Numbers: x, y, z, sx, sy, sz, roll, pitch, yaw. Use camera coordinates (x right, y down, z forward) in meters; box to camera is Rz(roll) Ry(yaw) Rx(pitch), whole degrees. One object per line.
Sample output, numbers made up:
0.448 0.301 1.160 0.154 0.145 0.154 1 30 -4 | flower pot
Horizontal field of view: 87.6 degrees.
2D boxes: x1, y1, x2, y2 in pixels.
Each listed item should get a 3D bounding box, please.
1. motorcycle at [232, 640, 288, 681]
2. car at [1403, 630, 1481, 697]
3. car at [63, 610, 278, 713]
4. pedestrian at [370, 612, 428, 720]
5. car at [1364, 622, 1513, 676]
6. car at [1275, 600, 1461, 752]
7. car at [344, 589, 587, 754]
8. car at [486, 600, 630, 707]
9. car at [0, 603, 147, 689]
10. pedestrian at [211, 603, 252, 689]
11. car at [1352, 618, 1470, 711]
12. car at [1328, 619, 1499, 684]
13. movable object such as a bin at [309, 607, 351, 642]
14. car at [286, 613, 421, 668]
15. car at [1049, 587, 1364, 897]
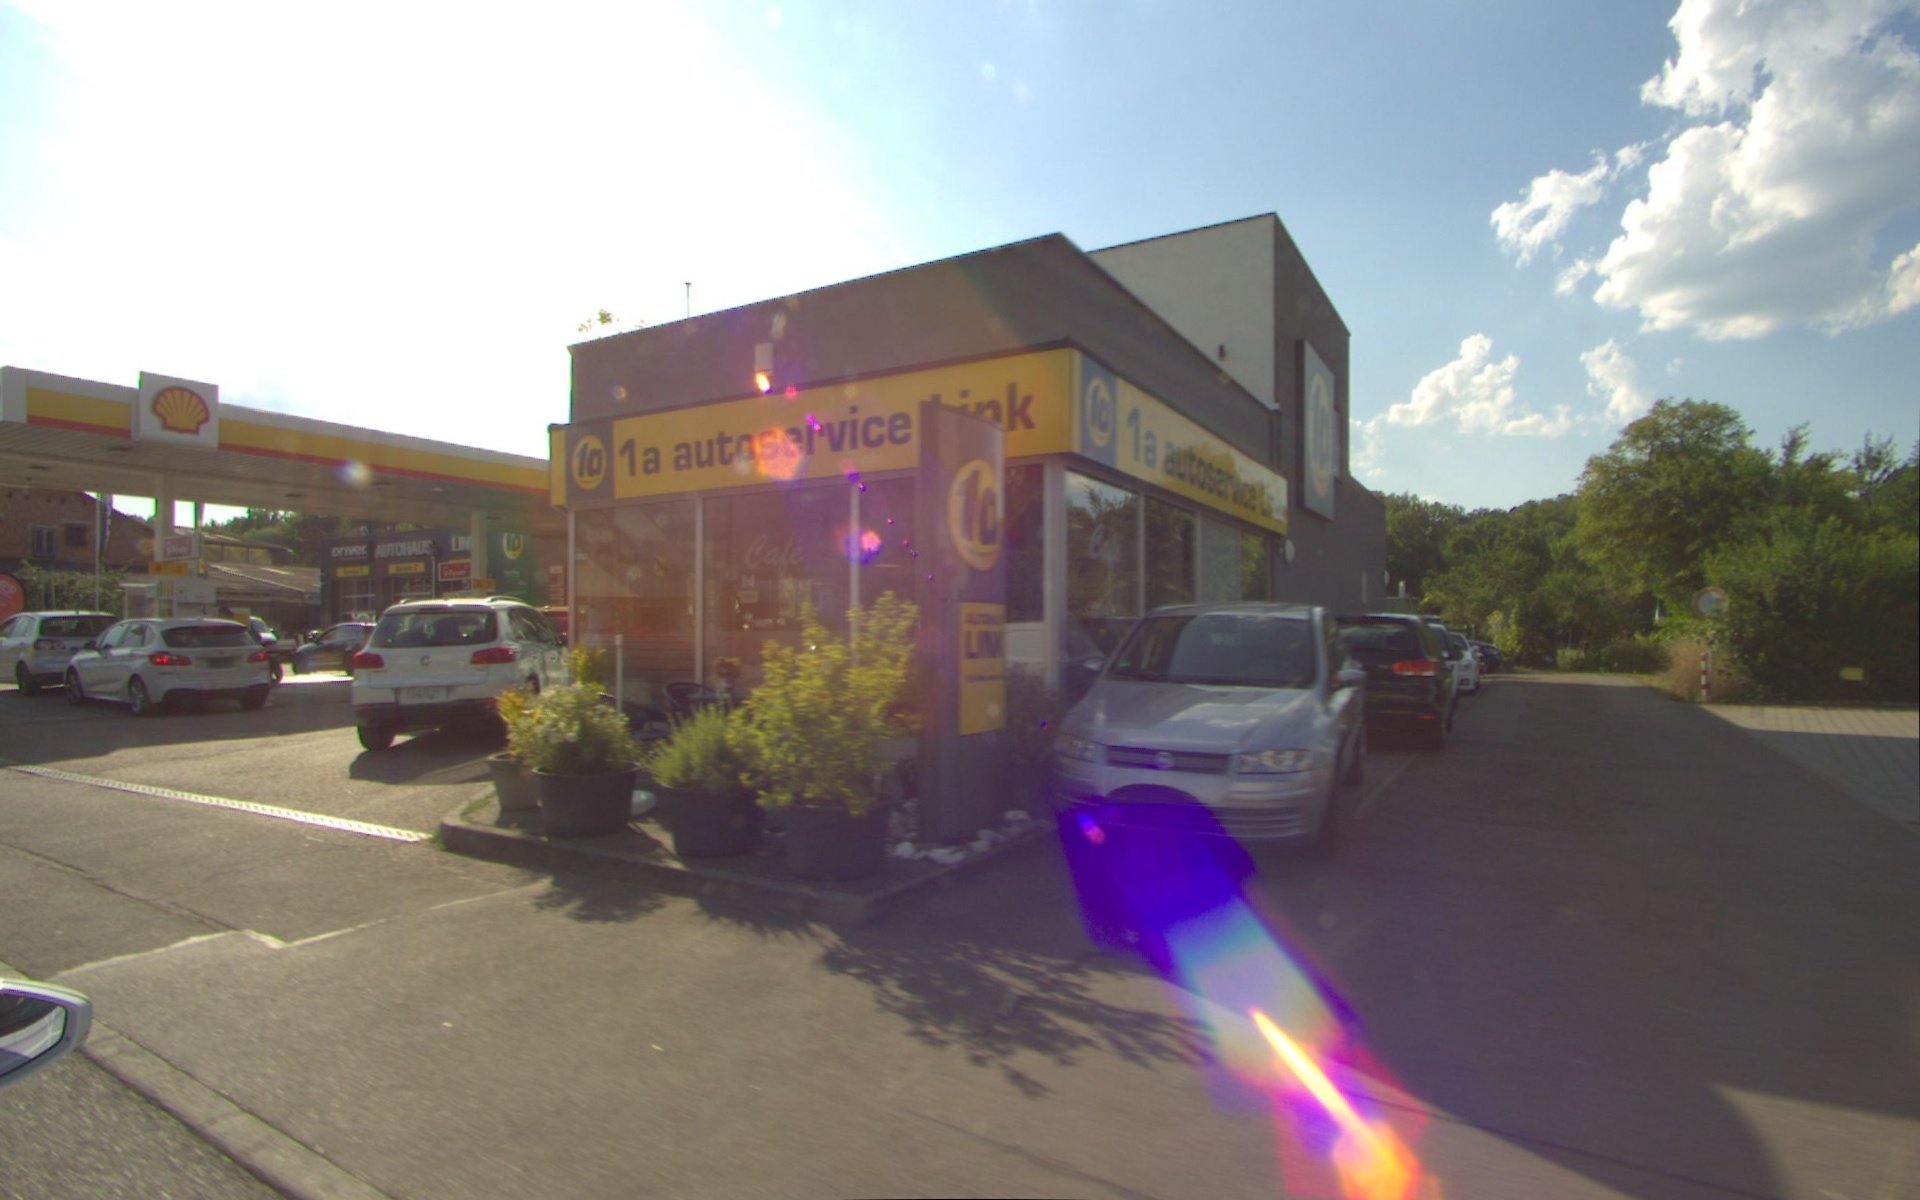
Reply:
-15.703 1.337 22.444 1.787 0.885 0.392 -1 -1 34 | motorcycle
10.538 1.316 21.783 1.376 1.278 3.754 2 -1 28 | car
-13.724 0.987 17.367 3.940 1.598 1.669 0 -1 31 | car
-7.955 0.923 14.213 0.613 1.499 0.430 0 0 -11 | pedestrian
14.339 1.429 30.104 3.918 1.417 1.662 1 0 28 | car
5.059 0.807 12.125 1.689 1.487 3.903 2 -1 28 | car
-5.921 0.744 12.518 1.646 1.697 4.074 -1 0 -11 | car
-6.970 0.883 17.694 1.646 1.654 3.685 -1 -1 -11 | car
-18.272 0.864 20.229 3.940 1.598 1.669 0 -1 31 | car
-14.467 0.908 19.890 0.526 1.691 0.499 -1 -1 31 | pedestrian
8.222 1.085 18.076 1.689 1.427 3.903 2 -1 28 | car
11.300 1.248 25.026 3.752 1.417 1.662 1 0 28 | car
-25.330 0.992 40.251 1.109 1.393 0.988 0 -1 25 | movable object such as a bin
-16.715 1.139 27.572 3.941 1.418 1.534 -2 -2 31 | car
1.997 0.758 7.155 1.502 1.551 3.989 0 -1 24 | car
